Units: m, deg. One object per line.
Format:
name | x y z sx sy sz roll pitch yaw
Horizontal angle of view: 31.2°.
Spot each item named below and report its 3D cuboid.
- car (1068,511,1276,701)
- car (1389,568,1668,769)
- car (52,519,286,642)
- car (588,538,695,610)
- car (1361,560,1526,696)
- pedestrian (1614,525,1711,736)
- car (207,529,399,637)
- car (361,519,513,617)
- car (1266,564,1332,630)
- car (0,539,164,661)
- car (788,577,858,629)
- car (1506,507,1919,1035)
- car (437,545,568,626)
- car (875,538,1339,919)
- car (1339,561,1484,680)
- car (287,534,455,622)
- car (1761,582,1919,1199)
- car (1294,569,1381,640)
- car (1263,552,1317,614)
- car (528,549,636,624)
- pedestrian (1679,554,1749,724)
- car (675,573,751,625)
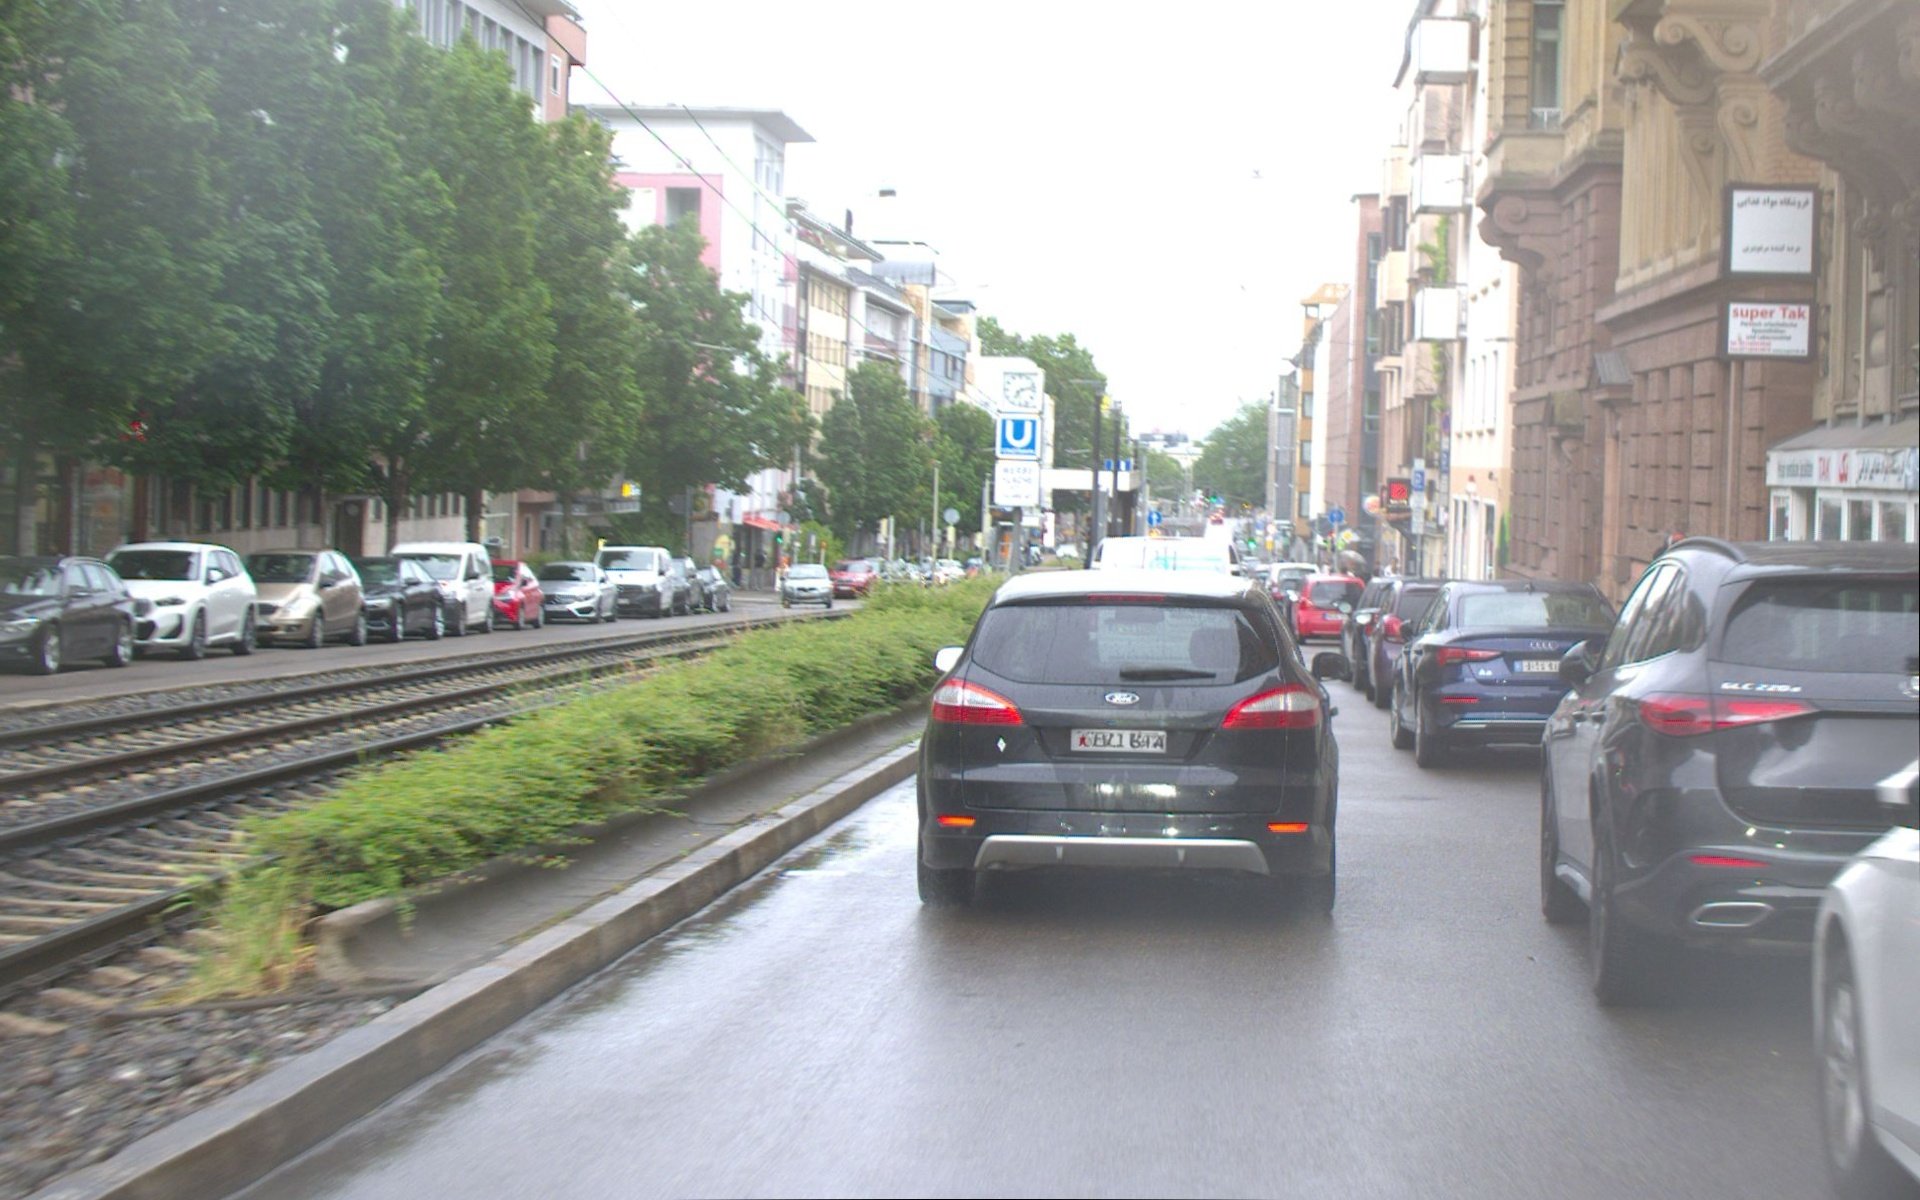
car | 2.559 0.048 40.461 1.989 2.053 4.643 2 1 9
car | 4.421 0.539 27.262 1.792 1.402 4.256 2 -1 5
car | -11.256 -0.239 49.287 1.856 1.543 4.719 2 -1 5
car | -8.197 -0.638 88.835 1.856 1.631 4.934 2 -1 5
car | 5.504 0.315 39.440 1.650 1.455 3.475 1 0 5
pedestrian | 6.154 0.255 30.161 0.703 1.813 0.961 -1 1 5
car | -10.553 -0.248 55.500 1.856 1.543 4.430 2 -1 5
car | -10.058 -0.587 66.417 1.856 1.695 4.430 2 -1 5
car | 10.375 -0.069 105.288 1.839 1.775 3.778 4 -1 5
car | -11.557 0.011 42.996 1.694 1.373 4.719 2 -1 5
car | -4.696 0.115 118.462 1.856 1.631 4.045 2 -1 5
car | 3.203 0.592 13.085 1.845 1.627 4.585 2 -1 5
car | -9.600 -0.274 72.469 1.856 1.522 4.045 2 -1 5
car | 0.676 0.529 15.864 1.842 1.502 3.999 1 0 2
car | 5.861 0.259 44.947 1.577 1.455 3.821 1 0 3
car | -10.292 -0.350 60.358 1.855 1.413 4.430 0 -1 5
car | 2.782 0.697 6.521 1.802 1.451 4.585 1 -1 5
car | 7.942 0.101 72.593 1.671 1.416 3.475 1 0 4
car | 10.649 -0.518 111.198 1.592 1.775 3.778 4 -1 5
car | -8.681 -0.297 79.229 1.668 1.553 4.045 2 -1 5
pedestrian | 7.075 0.373 32.271 0.519 1.574 0.677 -1 -2 5
car | -7.267 -0.013 101.440 1.551 1.390 4.045 2 -1 5
